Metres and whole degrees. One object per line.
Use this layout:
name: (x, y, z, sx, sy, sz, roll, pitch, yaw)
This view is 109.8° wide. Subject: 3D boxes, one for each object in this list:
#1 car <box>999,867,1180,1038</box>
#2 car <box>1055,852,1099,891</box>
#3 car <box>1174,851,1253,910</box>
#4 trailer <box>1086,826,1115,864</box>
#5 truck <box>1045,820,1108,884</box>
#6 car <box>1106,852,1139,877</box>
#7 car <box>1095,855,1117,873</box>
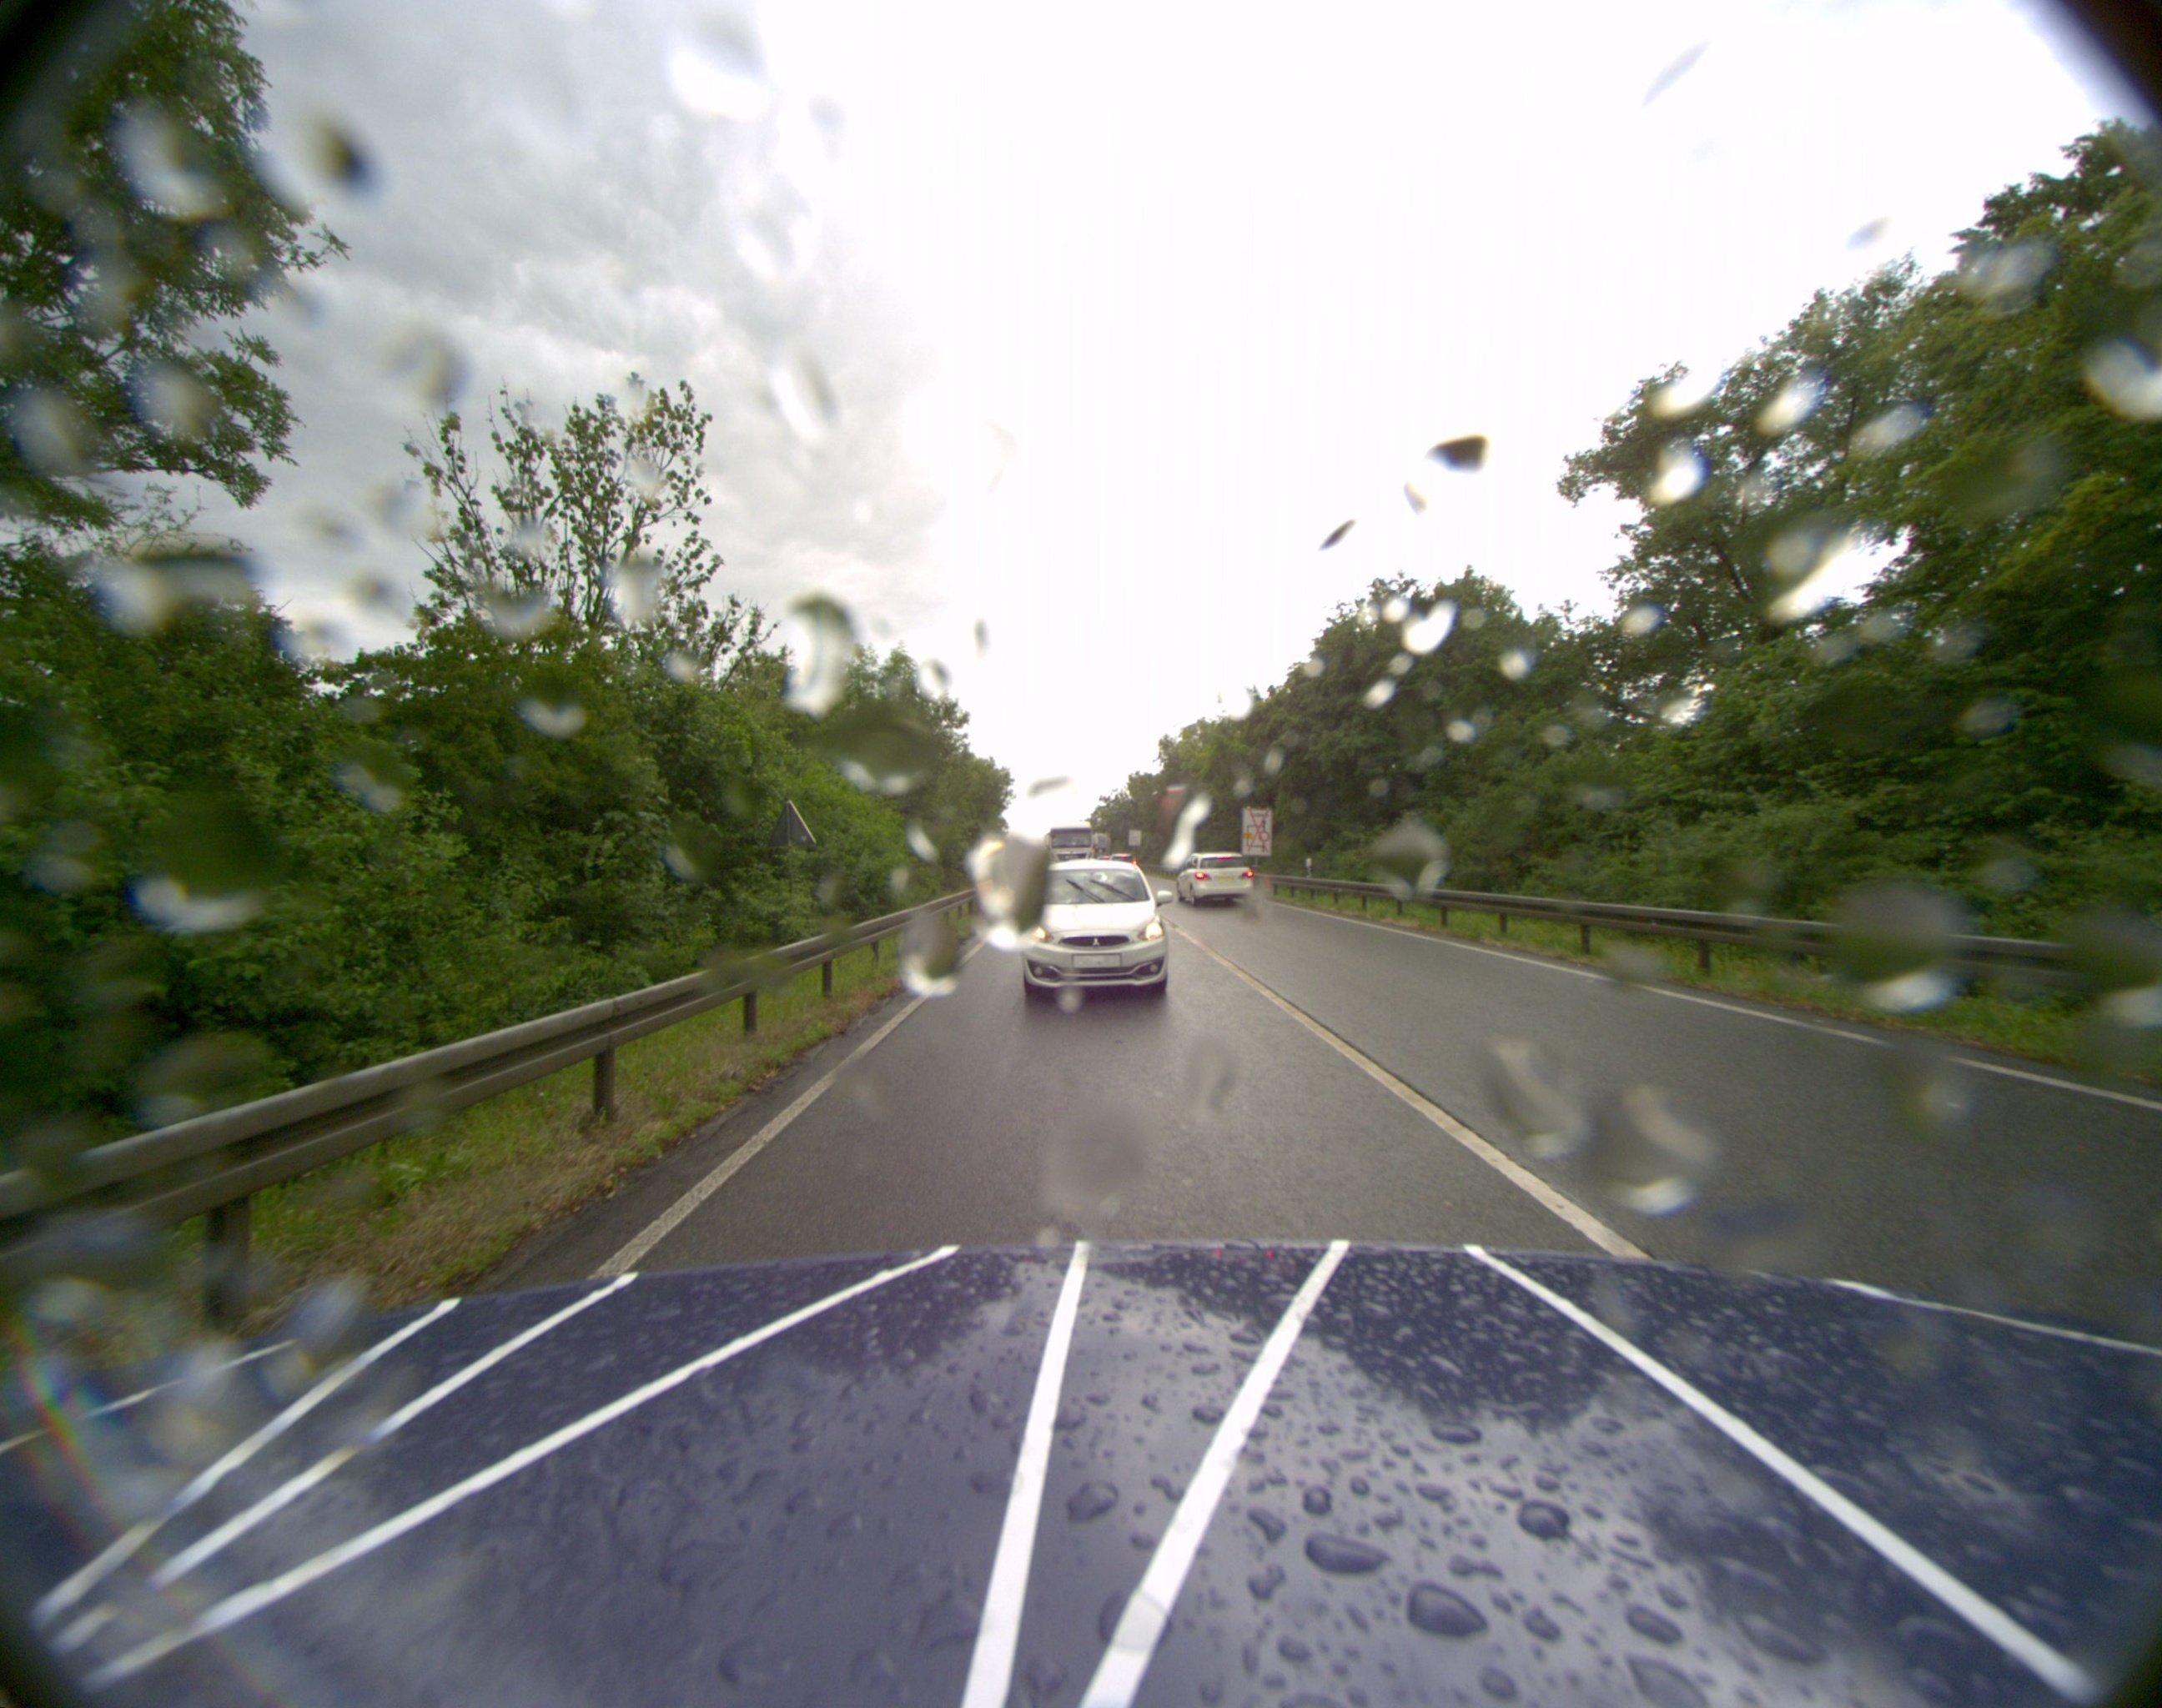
car: (0.140, 0.942, 9.097, 1.610, 1.435, 4.209, -2, 0, 2)
car: (-0.123, 0.690, 31.226, 1.640, 1.413, 4.492, -2, 0, 1)
car: (4.000, 0.741, 23.579, 1.696, 1.547, 4.441, -2, 1, 1)
trailer: (2.020, -0.989, 82.551, 2.543, 3.803, 7.789, -2, 1, -2)
truck: (-0.473, -0.135, 45.977, 3.137, 3.364, 9.279, -2, 1, -4)
car: (2.853, 0.691, 52.850, 1.852, 1.634, 4.297, -2, 0, -3)
car: (2.200, 0.888, 68.080, 1.712, 1.507, 3.911, -2, 1, -2)
